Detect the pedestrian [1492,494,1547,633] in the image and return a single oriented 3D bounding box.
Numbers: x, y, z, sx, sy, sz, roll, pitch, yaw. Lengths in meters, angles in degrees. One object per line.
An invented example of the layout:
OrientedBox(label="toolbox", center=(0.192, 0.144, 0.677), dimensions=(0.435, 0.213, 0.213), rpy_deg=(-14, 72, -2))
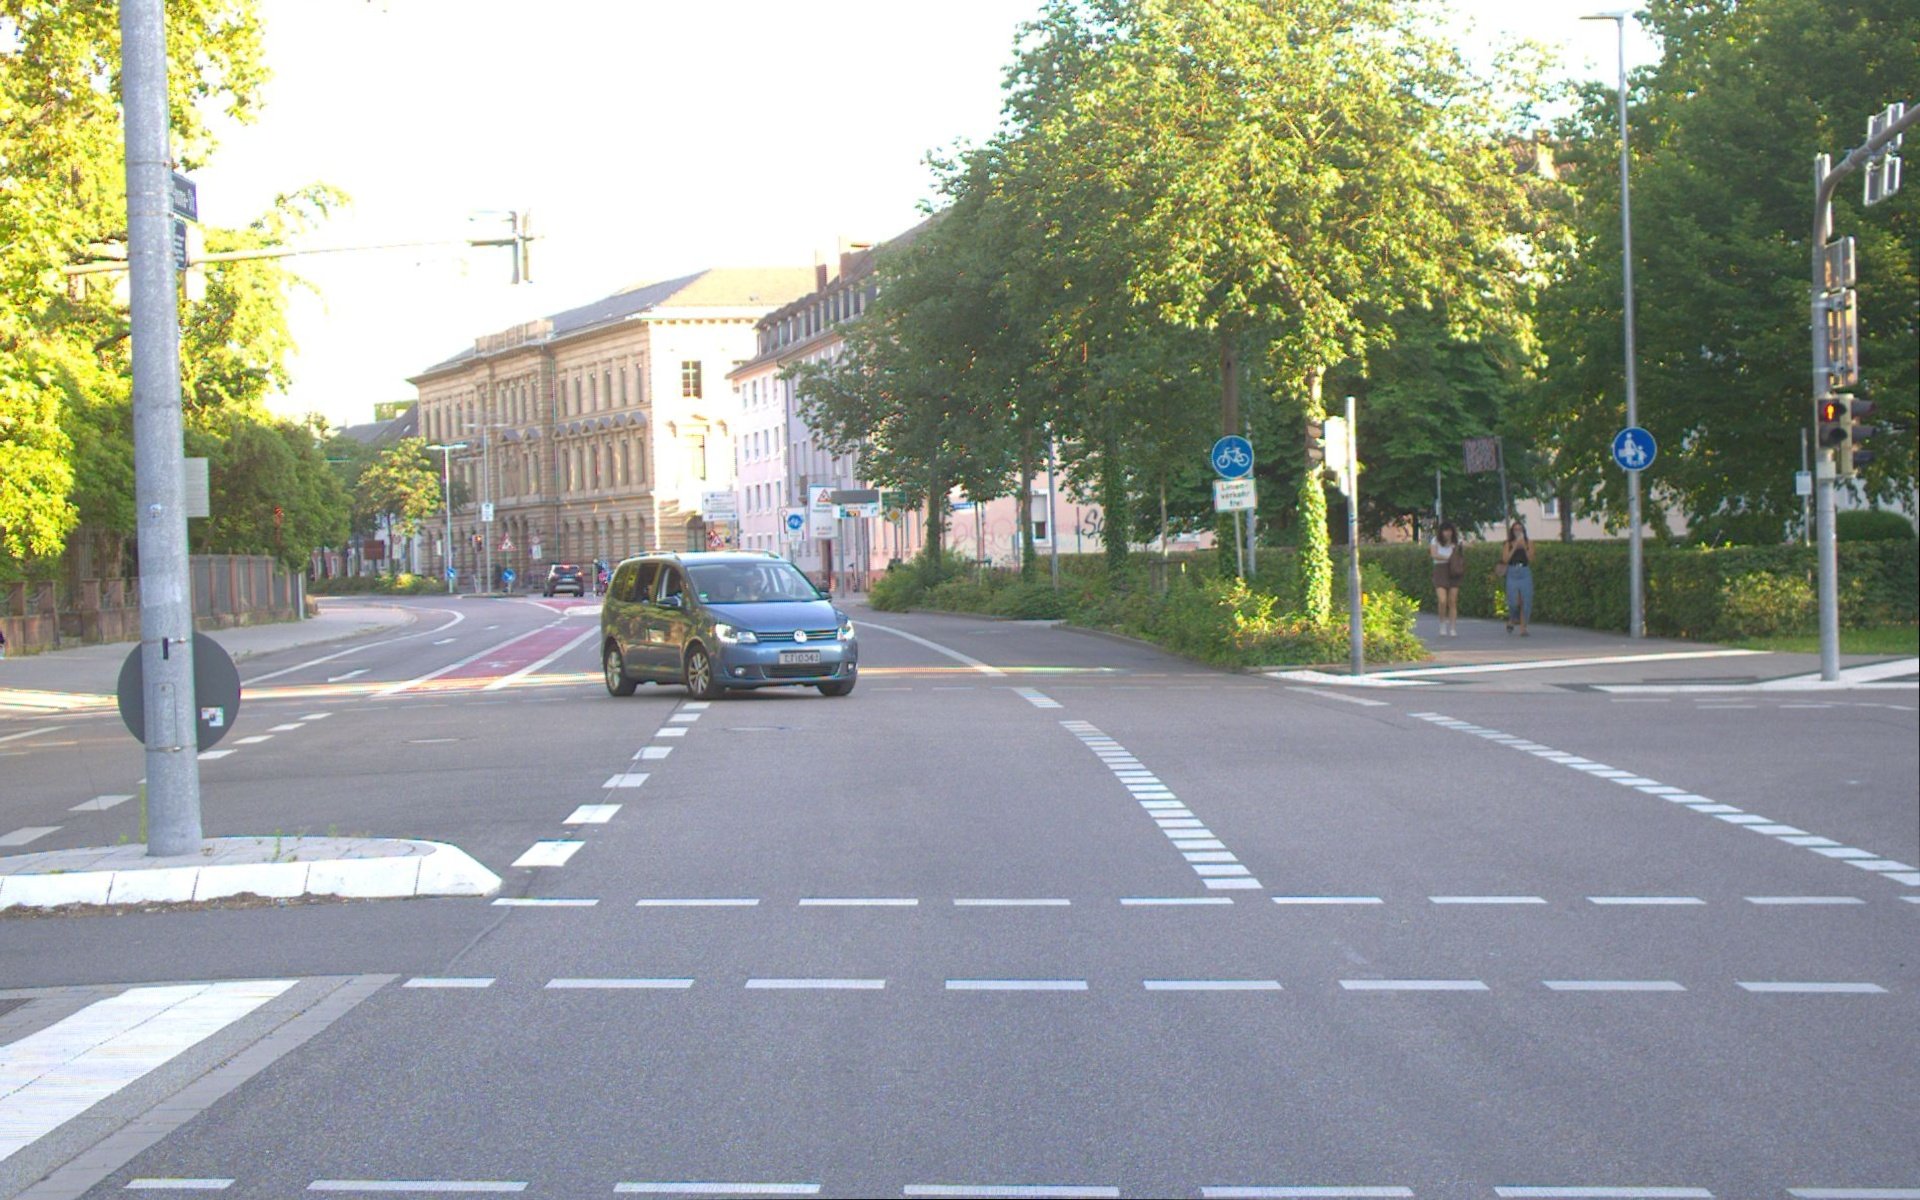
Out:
OrientedBox(label="pedestrian", center=(8.188, -0.534, 50.305), dimensions=(0.635, 2.007, 0.720), rpy_deg=(-1, 1, -4))

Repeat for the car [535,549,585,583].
OrientedBox(label="car", center=(-19.757, -1.671, 169.702), dimensions=(1.819, 1.583, 4.001), rpy_deg=(-3, 1, -14))

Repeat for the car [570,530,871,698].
OrientedBox(label="car", center=(-2.746, 0.135, 38.445), dimensions=(1.849, 1.714, 4.296), rpy_deg=(-2, 1, -26))

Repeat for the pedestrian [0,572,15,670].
OrientedBox(label="pedestrian", center=(-15.701, 0.341, 55.604), dimensions=(0.599, 1.568, 0.646), rpy_deg=(-2, 1, -1))

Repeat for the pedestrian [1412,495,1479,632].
OrientedBox(label="pedestrian", center=(7.186, -0.535, 50.916), dimensions=(0.870, 2.007, 0.722), rpy_deg=(0, 1, -1))
